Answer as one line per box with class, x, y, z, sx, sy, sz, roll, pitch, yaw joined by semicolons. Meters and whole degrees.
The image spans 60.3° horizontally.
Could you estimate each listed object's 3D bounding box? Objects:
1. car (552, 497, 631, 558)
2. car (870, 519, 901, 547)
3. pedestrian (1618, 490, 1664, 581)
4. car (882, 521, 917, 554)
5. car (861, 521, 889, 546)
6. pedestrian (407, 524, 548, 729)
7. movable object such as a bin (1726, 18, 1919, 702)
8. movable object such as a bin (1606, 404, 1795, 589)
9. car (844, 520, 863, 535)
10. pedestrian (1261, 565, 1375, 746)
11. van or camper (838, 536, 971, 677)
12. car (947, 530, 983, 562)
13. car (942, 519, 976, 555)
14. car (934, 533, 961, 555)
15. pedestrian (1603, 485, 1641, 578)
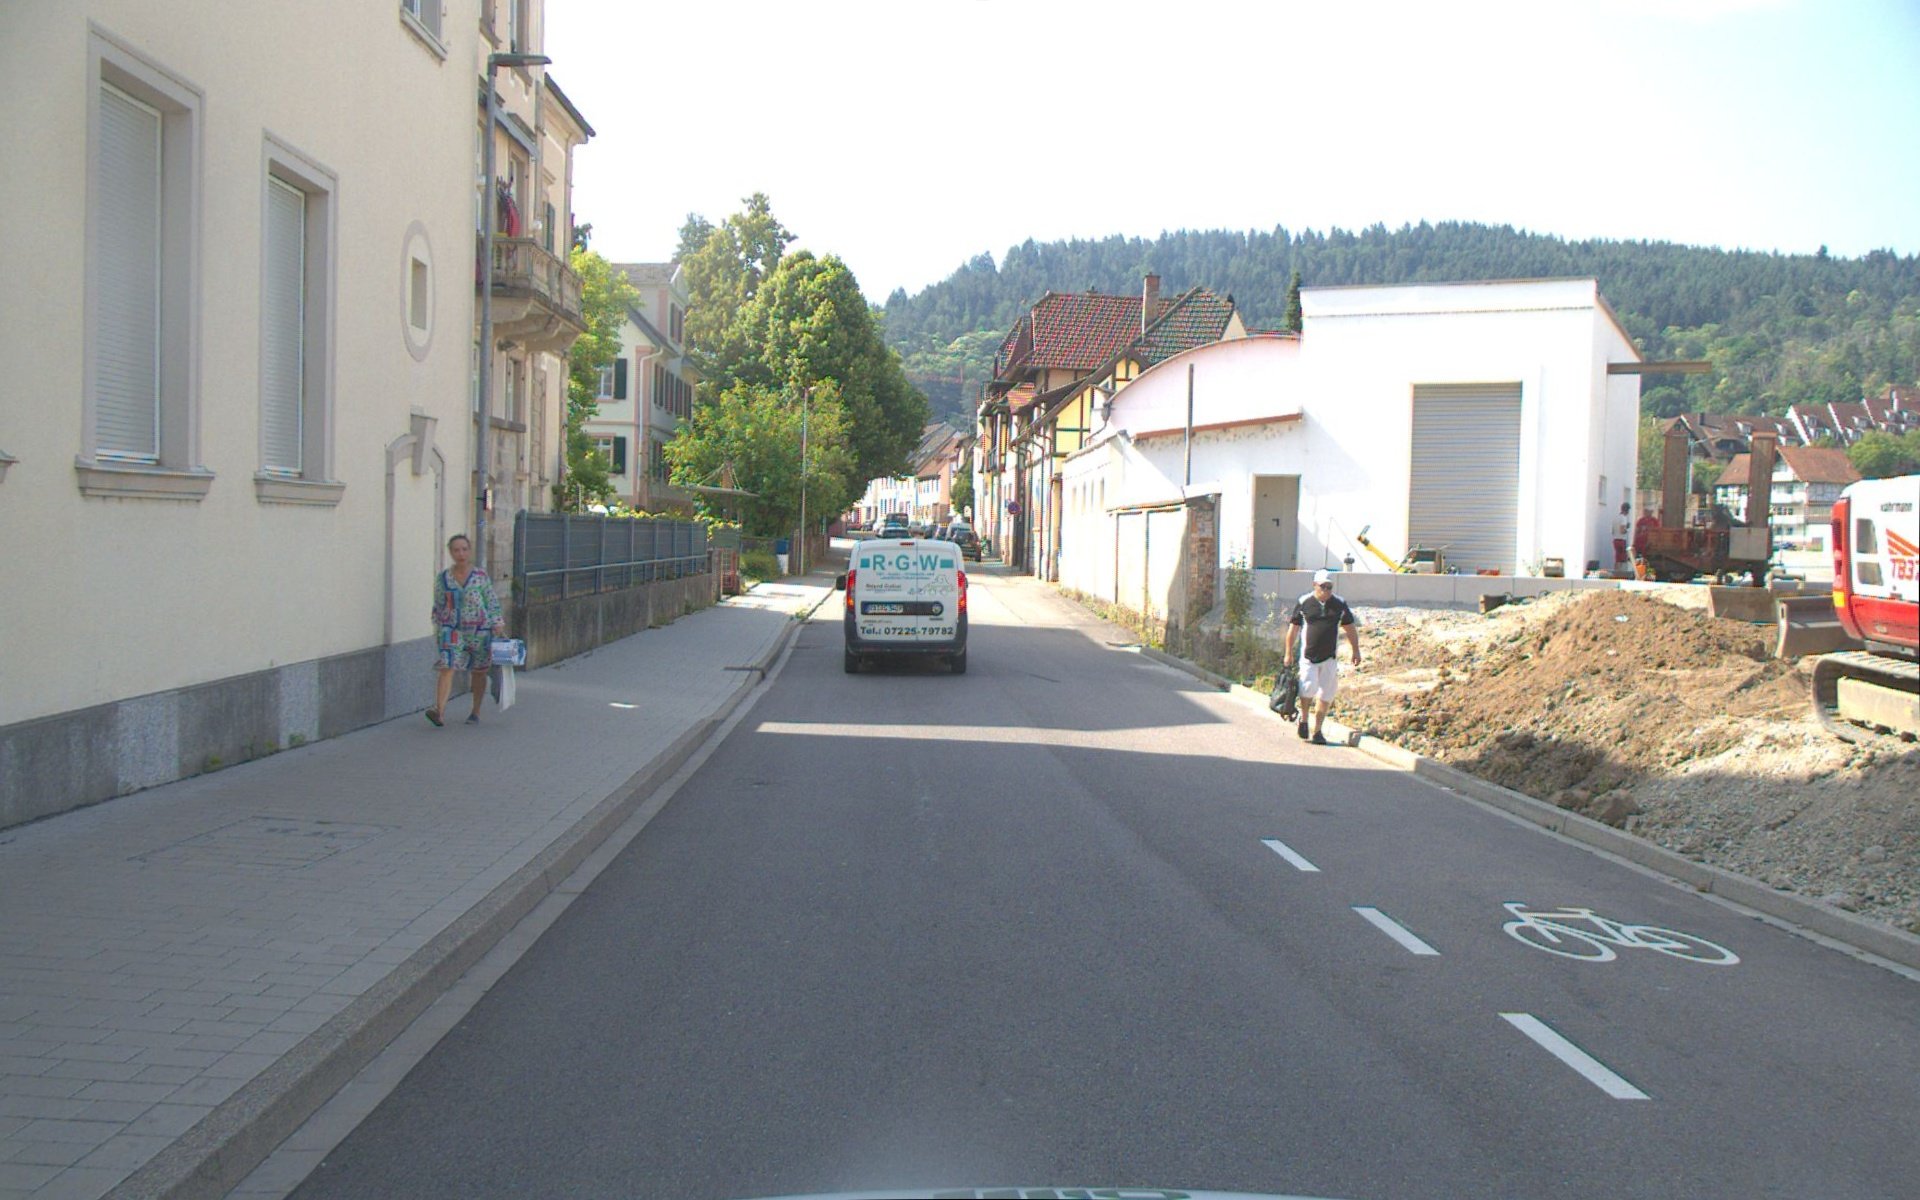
car;-12.385;-2.458;55.874;1.787;1.802;4.680;5;2;-4
car;-4.897;-4.424;108.749;1.775;1.624;3.924;3;3;-5
pedestrian;14.867;-1.407;36.096;0.625;1.929;0.604;6;4;42
car;-3.280;-3.402;89.125;1.775;1.624;3.926;3;3;-3
car;-10.218;-7.962;198.107;2.820;2.884;6.116;0;3;-7
pedestrian;-4.072;0.207;14.004;0.938;1.659;0.758;2;1;-3
movable object such as a bin;6.498;-1.273;7.652;2.248;3.920;7.802;4;2;2
movable object such as a bin;16.499;-2.209;36.650;2.800;3.683;5.721;5;3;32
car;-13.567;-9.245;211.284;1.741;1.830;3.987;1;3;-13
pedestrian;3.541;0.535;16.429;0.871;1.712;0.718;3;1;-2
van or camper;-0.870;0.007;24.518;1.792;1.876;4.187;0;3;-3
car;0.273;-3.003;91.366;1.774;1.624;3.927;4;3;-2
car;-0.080;-3.882;101.505;1.834;2.048;3.999;2;2;-3
car;-0.897;-4.015;117.880;1.636;1.534;3.998;0;3;-4
pedestrian;14.157;-1.467;35.369;0.594;1.929;0.636;5;3;23
